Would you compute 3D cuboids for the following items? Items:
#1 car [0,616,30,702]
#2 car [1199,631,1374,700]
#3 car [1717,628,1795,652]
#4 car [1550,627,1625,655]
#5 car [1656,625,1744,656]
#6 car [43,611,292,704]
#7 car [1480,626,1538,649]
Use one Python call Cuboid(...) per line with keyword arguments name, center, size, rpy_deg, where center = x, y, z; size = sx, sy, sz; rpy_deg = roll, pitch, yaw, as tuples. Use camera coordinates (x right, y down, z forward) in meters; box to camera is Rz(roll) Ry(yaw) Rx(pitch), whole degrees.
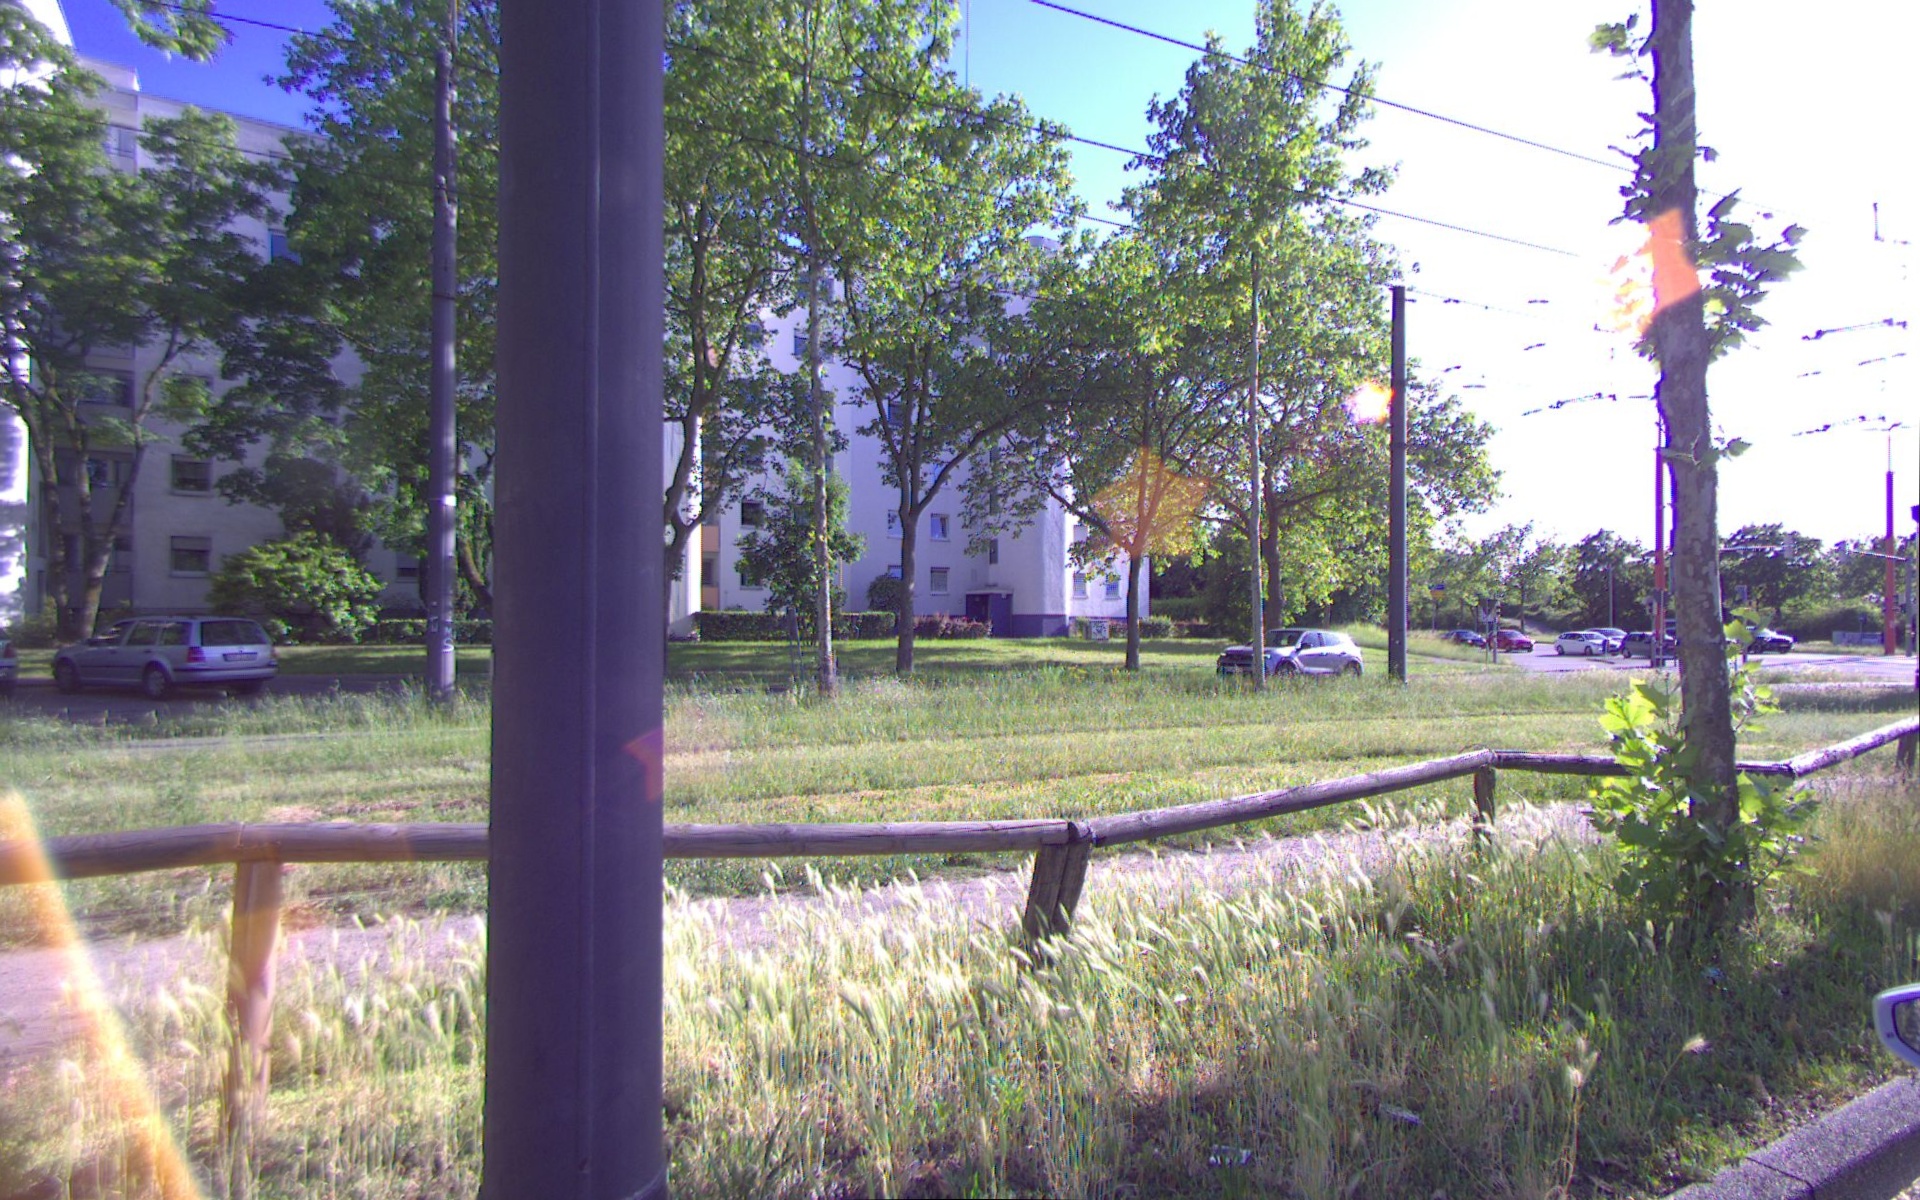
Cuboid(name="car", center=(-17.938, 0.976, 17.086), size=(3.547, 1.439, 1.576), rpy_deg=(1, 0, 18))
Cuboid(name="car", center=(8.096, 1.567, 24.816), size=(4.282, 1.543, 1.797), rpy_deg=(1, -1, -32))
Cuboid(name="car", center=(48.849, 2.454, 61.741), size=(1.664, 1.347, 4.001), rpy_deg=(1, -1, 2))
Cuboid(name="car", center=(38.938, 2.500, 62.448), size=(1.833, 1.633, 4.185), rpy_deg=(1, -1, -4))
Cuboid(name="car", center=(42.484, 2.322, 57.785), size=(1.962, 1.666, 3.997), rpy_deg=(1, -1, -5))
Cuboid(name="car", center=(-14.585, 0.996, 18.523), size=(3.898, 1.462, 1.710), rpy_deg=(1, 0, 18))
Cuboid(name="car", center=(38.448, 2.624, 70.446), size=(1.699, 1.533, 3.998), rpy_deg=(1, -1, -4))
